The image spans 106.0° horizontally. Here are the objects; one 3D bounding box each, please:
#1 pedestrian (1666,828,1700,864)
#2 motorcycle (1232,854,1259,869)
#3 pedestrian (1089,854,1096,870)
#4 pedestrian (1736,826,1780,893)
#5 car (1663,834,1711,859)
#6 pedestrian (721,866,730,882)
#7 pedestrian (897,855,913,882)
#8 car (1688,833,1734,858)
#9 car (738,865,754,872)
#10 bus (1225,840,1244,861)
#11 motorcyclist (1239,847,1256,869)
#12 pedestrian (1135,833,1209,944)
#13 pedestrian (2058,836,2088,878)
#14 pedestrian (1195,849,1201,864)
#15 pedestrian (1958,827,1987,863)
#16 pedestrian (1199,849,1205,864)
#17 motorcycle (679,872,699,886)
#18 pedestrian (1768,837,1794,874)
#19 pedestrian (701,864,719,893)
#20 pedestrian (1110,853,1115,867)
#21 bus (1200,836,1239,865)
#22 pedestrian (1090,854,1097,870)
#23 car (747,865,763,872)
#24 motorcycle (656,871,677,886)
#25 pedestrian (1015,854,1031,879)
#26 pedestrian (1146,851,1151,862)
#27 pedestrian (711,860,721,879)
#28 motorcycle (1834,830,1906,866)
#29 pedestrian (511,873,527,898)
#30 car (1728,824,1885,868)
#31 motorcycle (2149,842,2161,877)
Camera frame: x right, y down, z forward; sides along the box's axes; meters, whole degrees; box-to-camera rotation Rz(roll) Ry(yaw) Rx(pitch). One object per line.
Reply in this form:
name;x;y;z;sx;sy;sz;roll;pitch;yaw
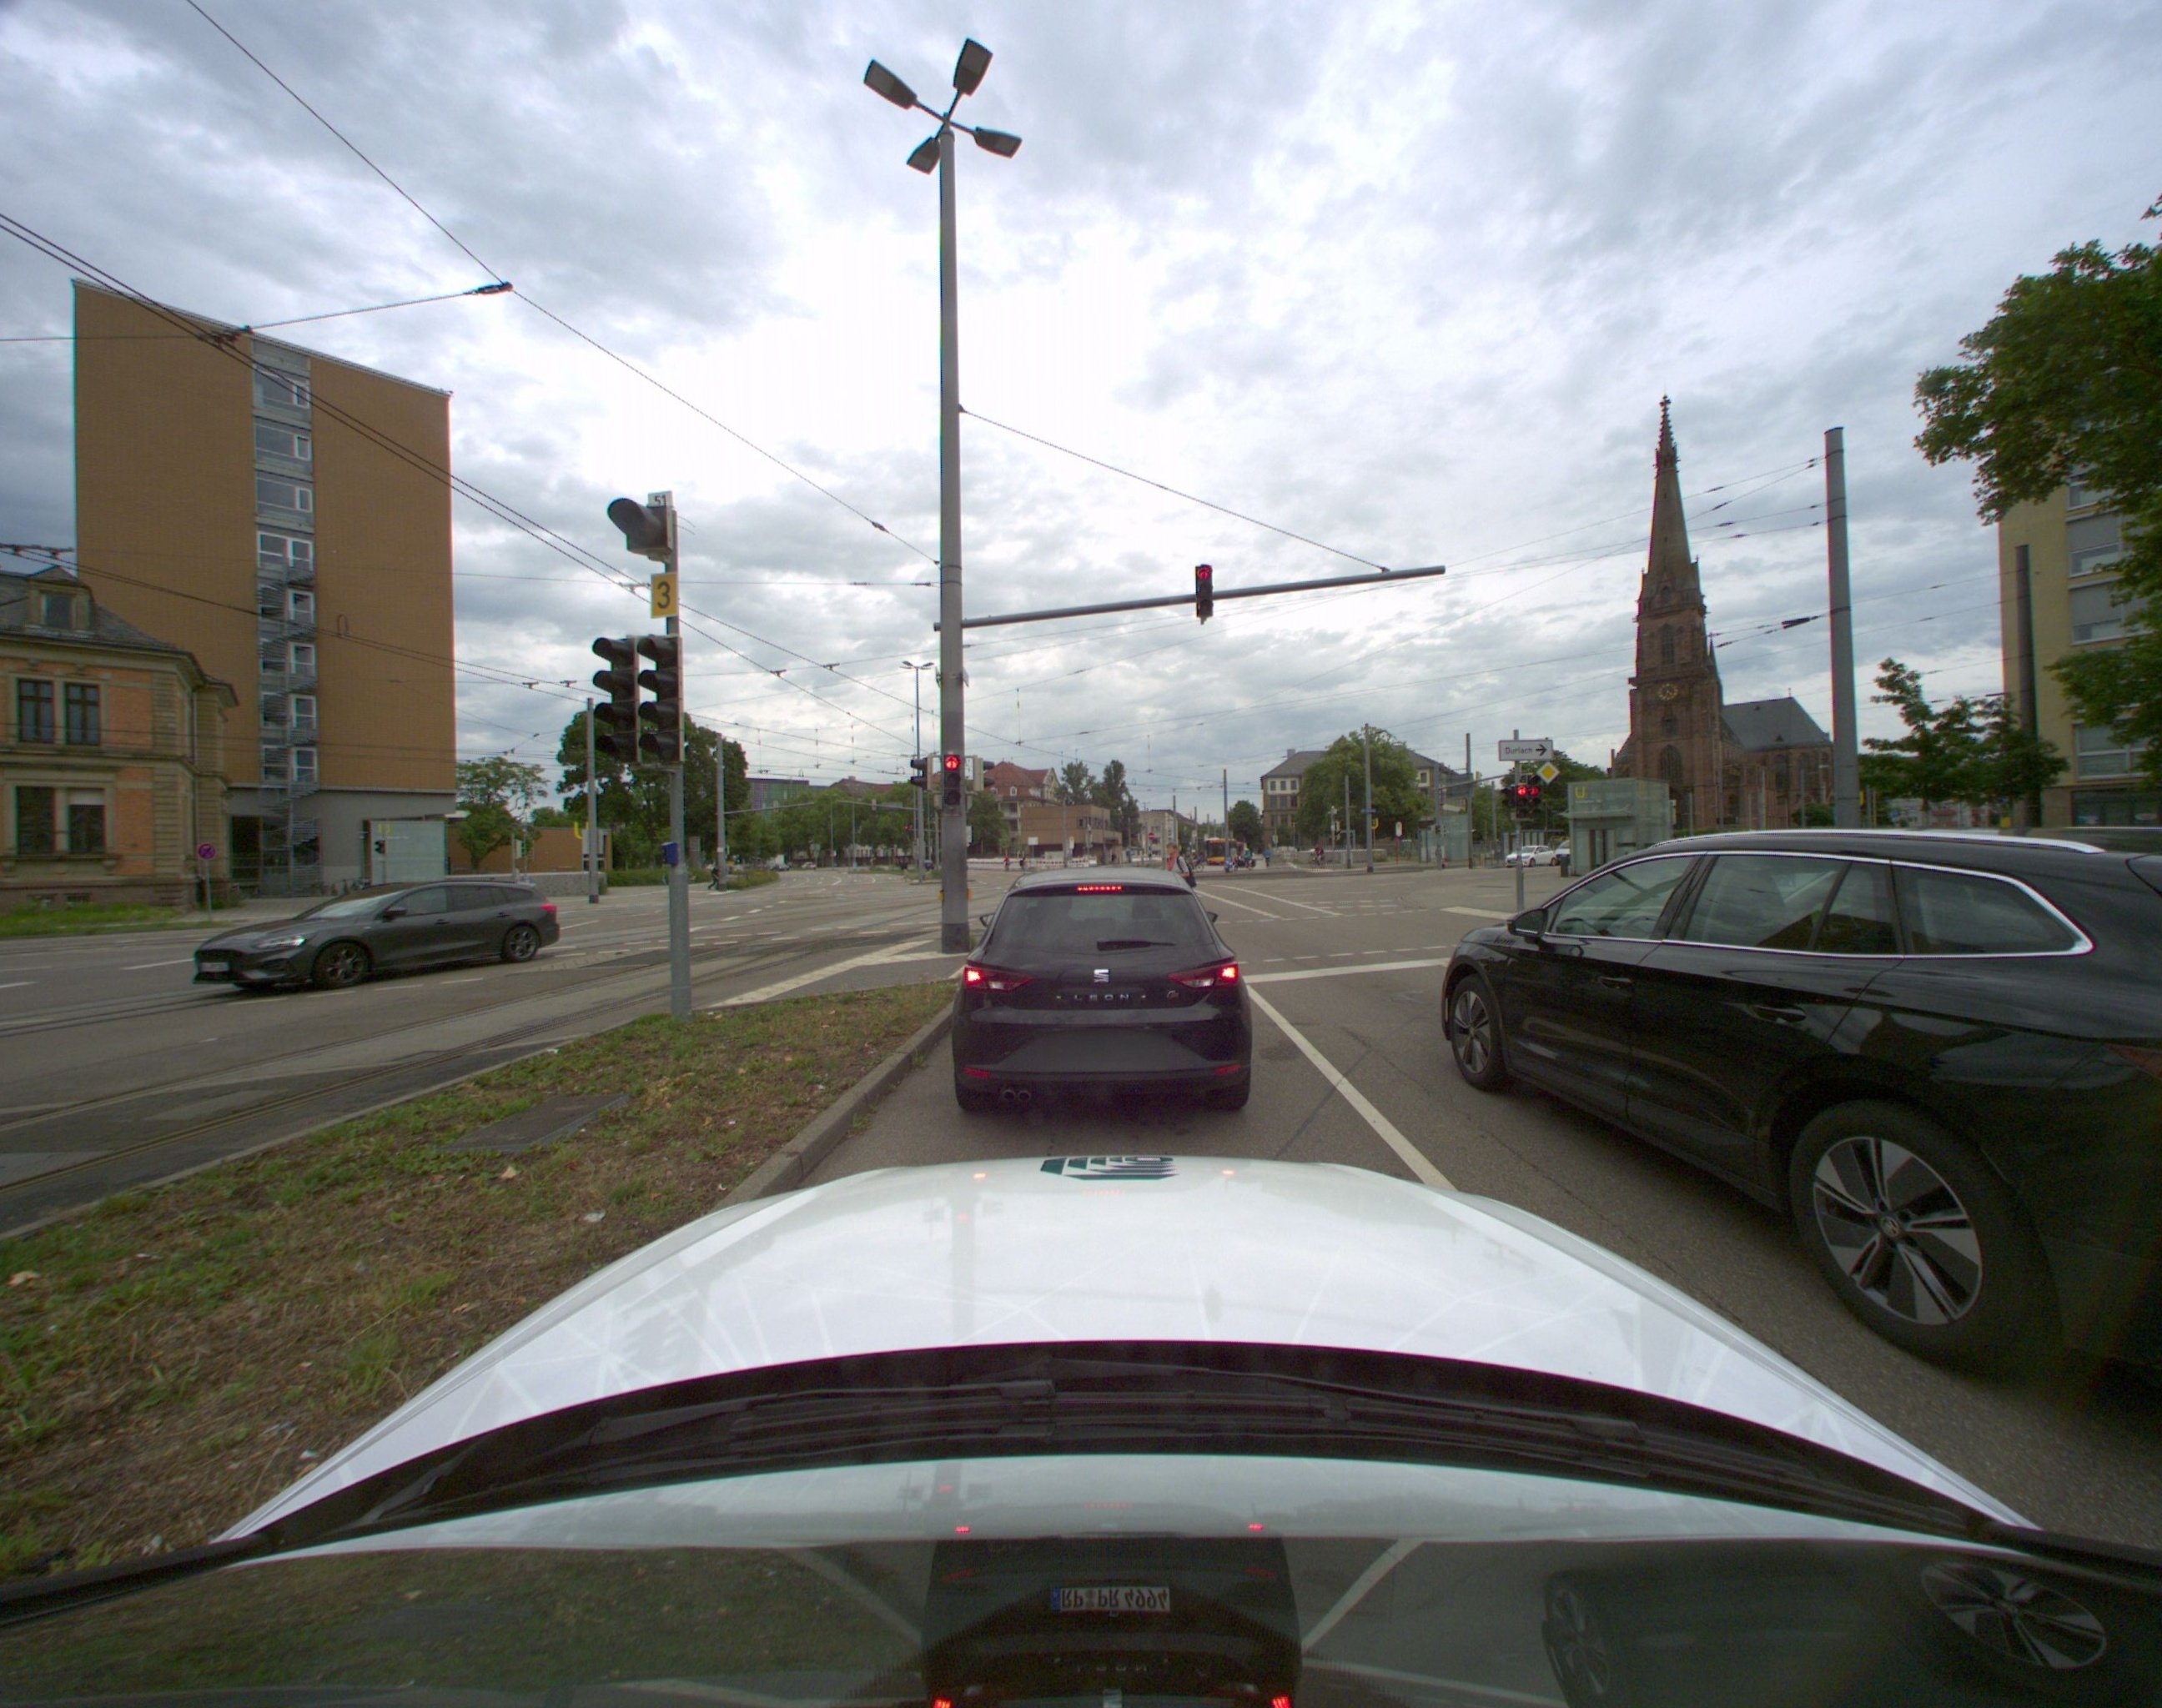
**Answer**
pedestrian;31.027;-0.405;41.961;0.950;1.797;1.076;-1;-2;-32
motorcycle;13.021;0.576;64.539;2.149;1.139;0.737;-1;0;-31
pedestrian;1.347;0.959;96.737;0.704;1.918;0.625;-2;0;9
pedestrian;19.911;0.154;23.952;0.878;1.930;1.023;-1;0;43
car;49.705;-0.621;66.763;4.017;2.013;1.978;-1;0;-36
pedestrian;-45.588;2.601;104.392;0.880;1.981;0.791;-1;-2;-17
pedestrian;-13.211;1.067;61.002;1.032;1.934;0.695;-2;0;-24
car;53.568;-0.713;69.201;4.017;2.013;1.978;-1;0;-36
car;-73.824;3.132;179.407;3.949;1.464;1.792;-1;0;43
bus;25.729;-0.564;136.293;2.635;3.283;11.034;-2;0;13
motorcyclist;13.223;0.322;64.660;0.984;1.649;0.742;-1;-1;-31
pedestrian;1.639;0.594;14.589;1.110;1.907;0.727;0;-1;-41
pedestrian;39.474;0.129;32.406;0.875;1.638;0.631;-1;0;-32
pedestrian;15.147;0.349;105.352;0.618;1.918;0.711;-2;0;5
pedestrian;40.786;-0.393;37.258;0.640;1.638;0.778;-1;0;-35
pedestrian;15.514;0.361;104.281;0.617;1.918;0.701;-2;0;11
motorcycle;-34.420;2.182;71.512;0.506;1.111;1.751;-2;0;15
pedestrian;31.476;0.085;36.610;0.875;1.638;0.631;-1;0;-32
pedestrian;-26.314;1.709;57.839;1.023;2.013;0.841;-1;0;-18
pedestrian;4.339;0.818;110.956;0.618;1.918;0.711;-2;0;5
bus;15.962;-0.411;93.282;2.938;3.123;11.589;-2;0;16
pedestrian;1.504;0.972;97.529;0.704;1.918;0.625;-2;0;9
car;-68.757;2.978;171.599;1.792;1.464;3.951;-1;0;-44
motorcycle;-35.448;2.097;69.608;1.481;1.268;0.505;-1;0;-44
pedestrian;-4.668;1.024;65.582;0.692;1.934;1.037;-2;0;40
pedestrian;11.843;0.416;142.417;0.615;1.918;0.715;-3;-2;27
pedestrian;-37.112;1.574;82.850;0.799;1.981;0.872;-1;-2;-33
motorcycle;26.950;-0.206;27.820;2.386;1.168;0.762;-1;0;-19
pedestrian;-30.804;1.716;44.641;0.492;1.336;0.577;-2;-1;41
car;37.622;-0.386;42.429;5.672;2.014;2.038;-2;-2;19
motorcycle;31.896;0.157;23.688;1.021;0.997;0.863;-1;0;-44
